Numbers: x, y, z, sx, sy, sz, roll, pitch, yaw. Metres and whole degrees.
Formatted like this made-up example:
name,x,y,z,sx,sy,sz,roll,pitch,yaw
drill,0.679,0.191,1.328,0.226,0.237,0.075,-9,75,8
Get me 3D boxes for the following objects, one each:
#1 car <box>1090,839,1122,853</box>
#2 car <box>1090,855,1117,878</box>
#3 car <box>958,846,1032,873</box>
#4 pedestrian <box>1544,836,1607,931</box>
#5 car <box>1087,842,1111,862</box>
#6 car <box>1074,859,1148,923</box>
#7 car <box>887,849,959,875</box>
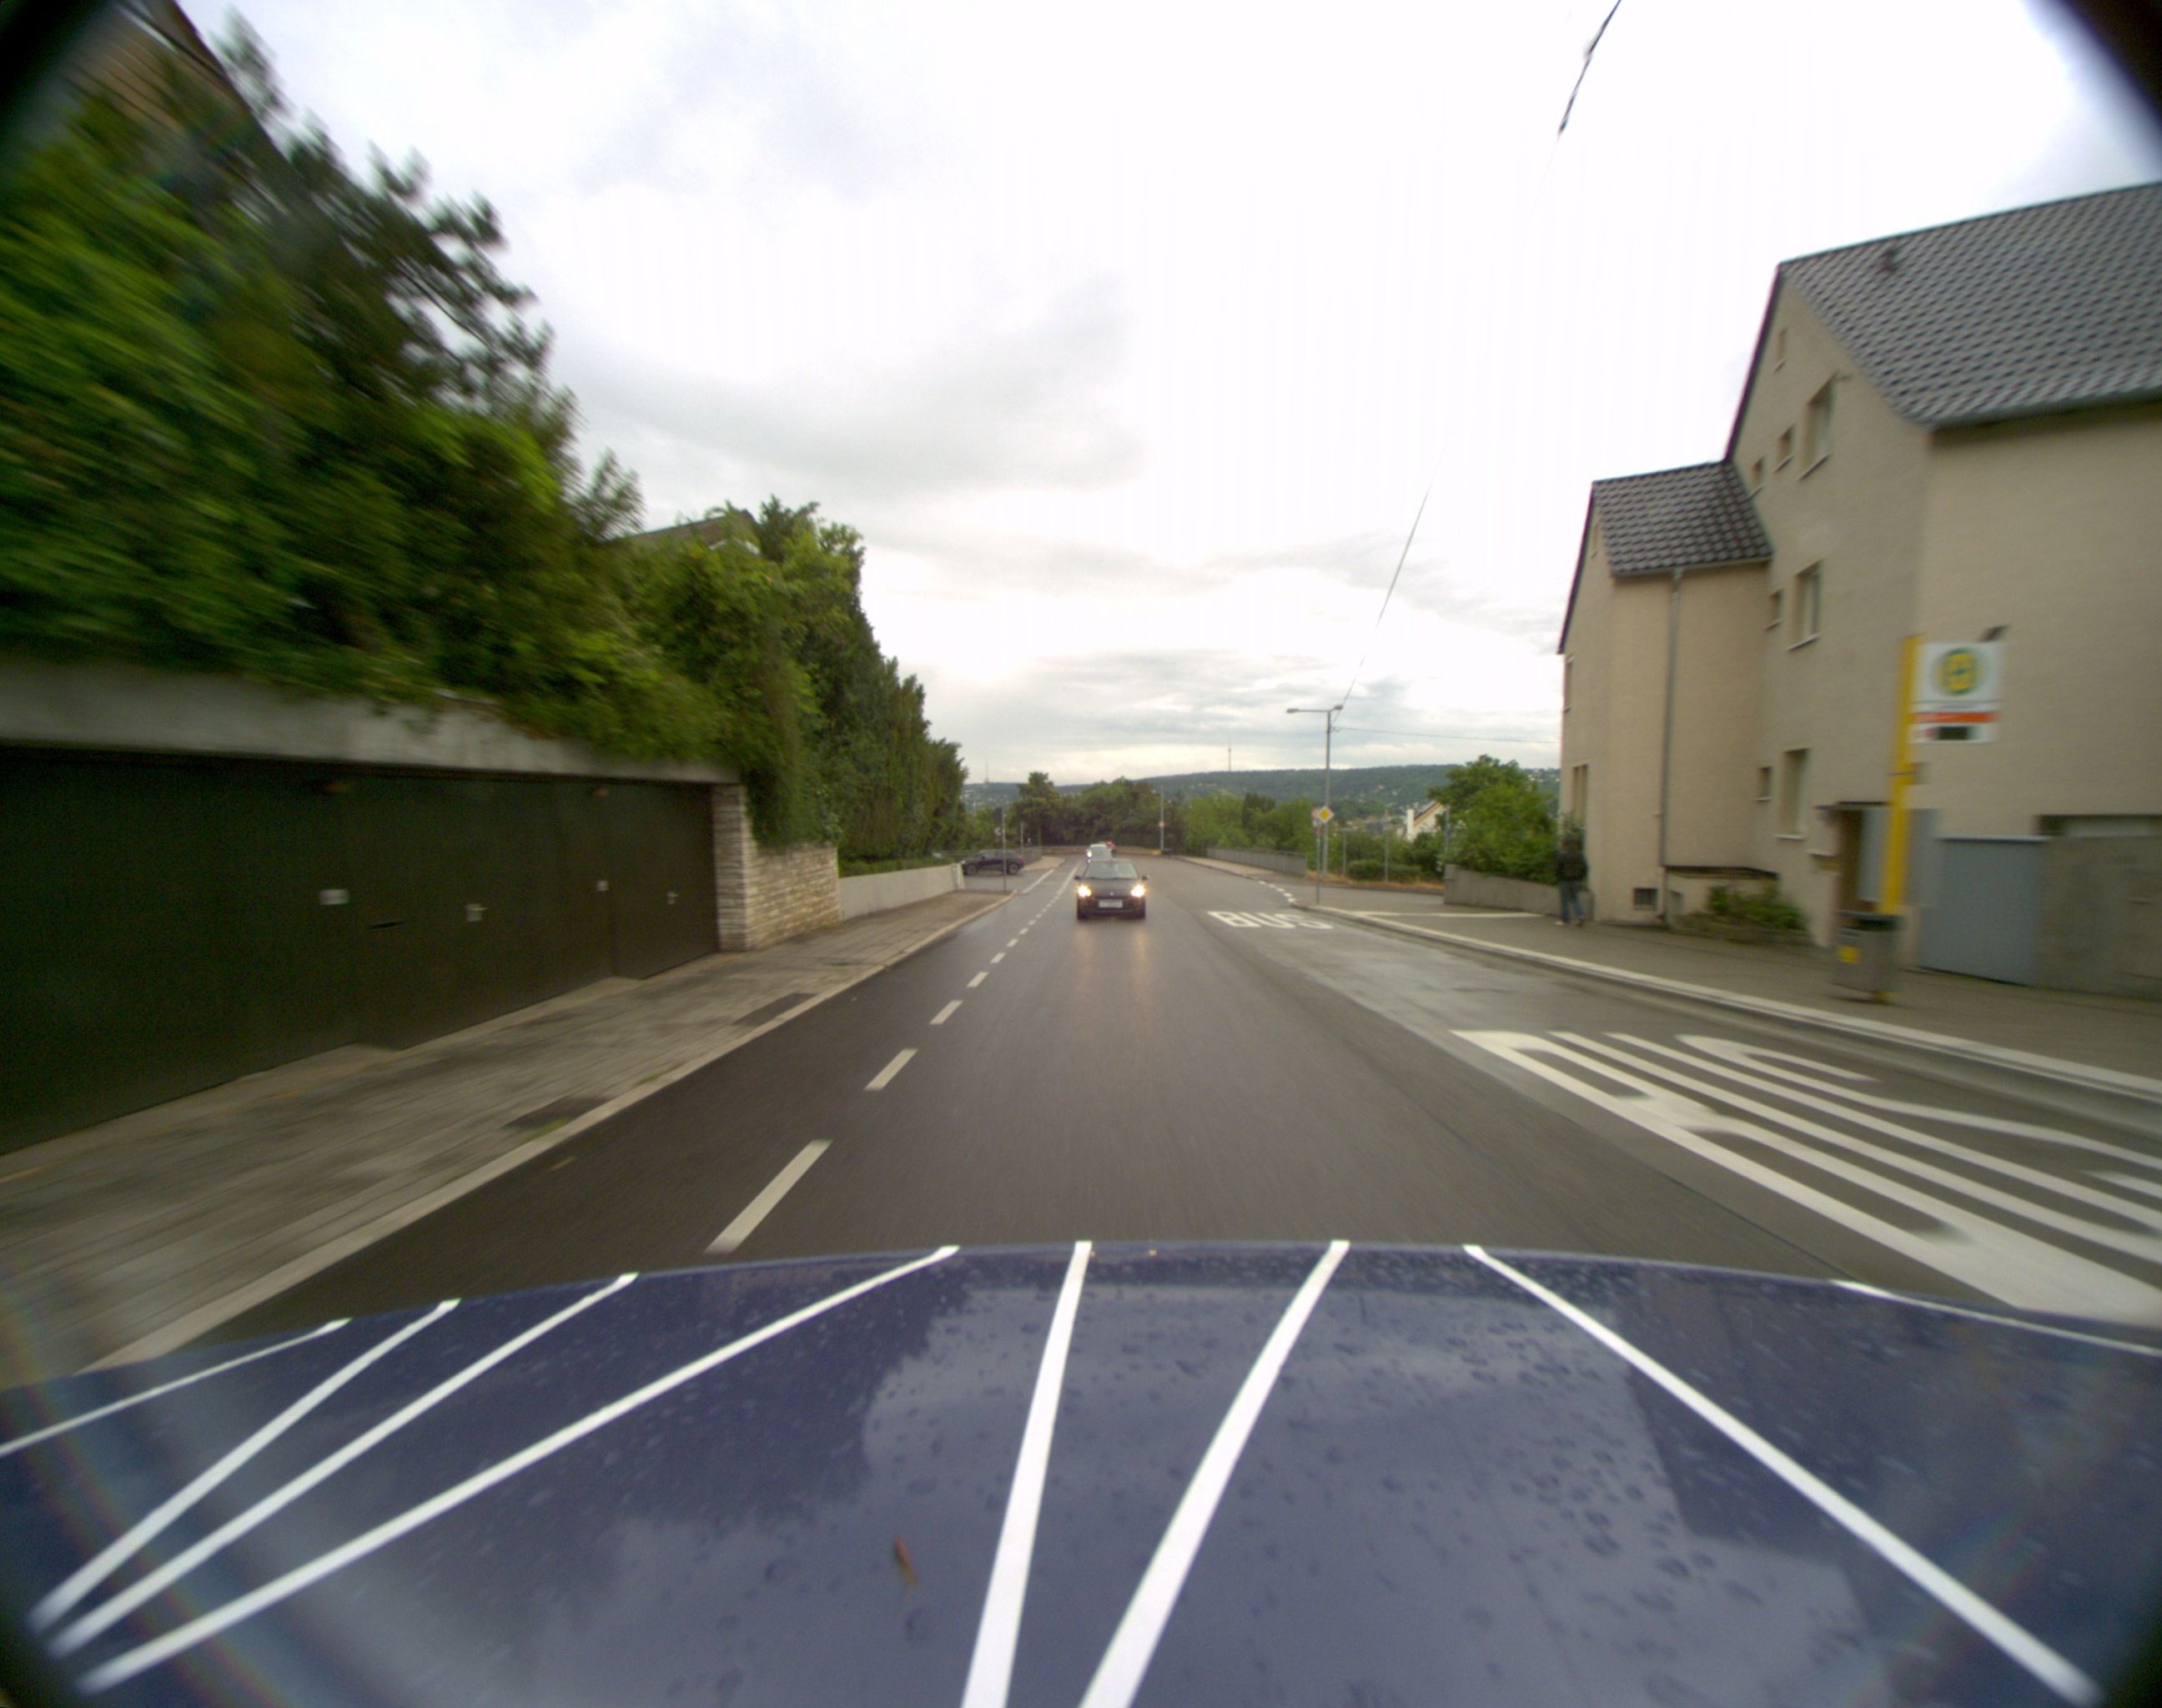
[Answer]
name,x,y,z,sx,sy,sz,roll,pitch,yaw
car,2.778,-0.929,85.361,1.742,1.537,3.989,0,2,-29
car,1.529,0.844,52.291,1.766,1.445,4.399,0,1,1
car,-5.461,0.318,48.216,4.206,1.514,1.996,-2,1,-22
pedestrian,9.934,0.581,15.299,0.788,1.846,0.728,-2,2,2
car,1.533,-0.207,64.905,1.889,1.566,4.591,-1,2,0
car,0.813,0.871,19.460,1.680,1.405,3.637,-1,1,4
car,-9.675,0.452,46.519,4.060,1.417,1.797,-2,3,-21
